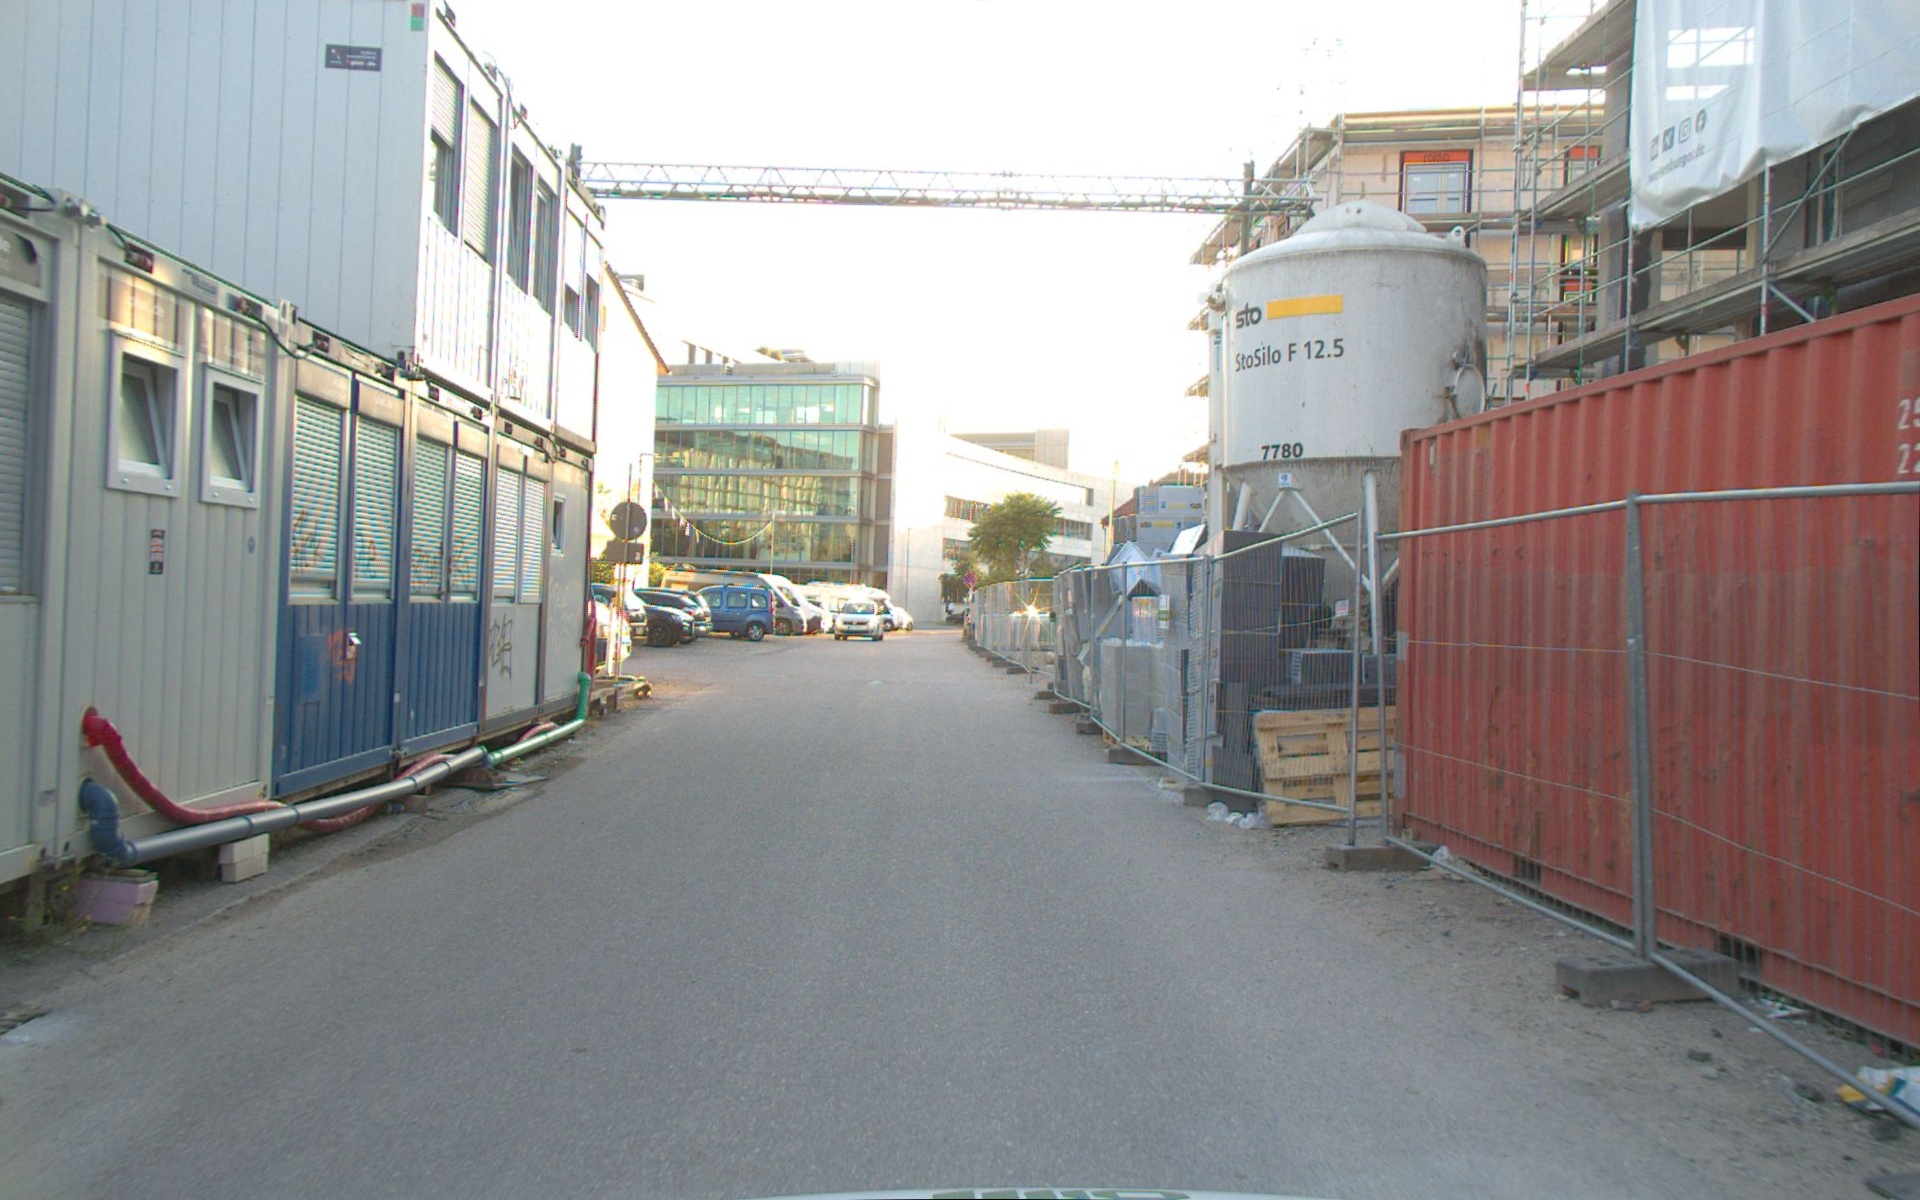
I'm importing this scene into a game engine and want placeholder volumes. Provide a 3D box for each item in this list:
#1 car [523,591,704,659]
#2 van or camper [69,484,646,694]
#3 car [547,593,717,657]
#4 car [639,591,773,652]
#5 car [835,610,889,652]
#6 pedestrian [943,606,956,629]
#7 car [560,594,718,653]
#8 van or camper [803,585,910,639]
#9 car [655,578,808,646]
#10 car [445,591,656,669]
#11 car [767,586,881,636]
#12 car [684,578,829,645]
[{"bbox_3d":[-9.486,0.675,45.439,4.408,1.677,2.001,2,0,7],"label":"car"},{"bbox_3d":[-9.837,-0.171,27.660,8.586,3.102,2.594,2,0,-1],"label":"van or camper"},{"bbox_3d":[-9.551,0.716,48.322,4.408,1.677,2.001,2,0,7],"label":"car"},{"bbox_3d":[-8.644,0.727,56.582,4.419,1.901,1.997,2,0,-8],"label":"car"},{"bbox_3d":[-3.903,1.222,66.311,1.630,1.555,3.912,2,0,4],"label":"car"},{"bbox_3d":[-0.874,1.419,134.433,0.748,1.848,0.845,1,-1,21],"label":"pedestrian"},{"bbox_3d":[-9.996,0.735,51.703,4.408,1.677,2.001,2,0,7],"label":"car"},{"bbox_3d":[-6.494,0.751,103.861,6.198,3.031,2.294,2,-1,10],"label":"van or camper"},{"bbox_3d":[-9.695,0.510,70.521,6.200,2.697,1.999,2,0,-2],"label":"car"},{"bbox_3d":[-9.739,0.709,39.527,4.408,1.677,2.001,2,0,7],"label":"car"},{"bbox_3d":[-7.365,0.587,89.906,5.797,2.533,2.002,2,0,9],"label":"car"},{"bbox_3d":[-9.117,0.501,74.525,6.200,2.789,1.999,2,0,-2],"label":"car"}]
